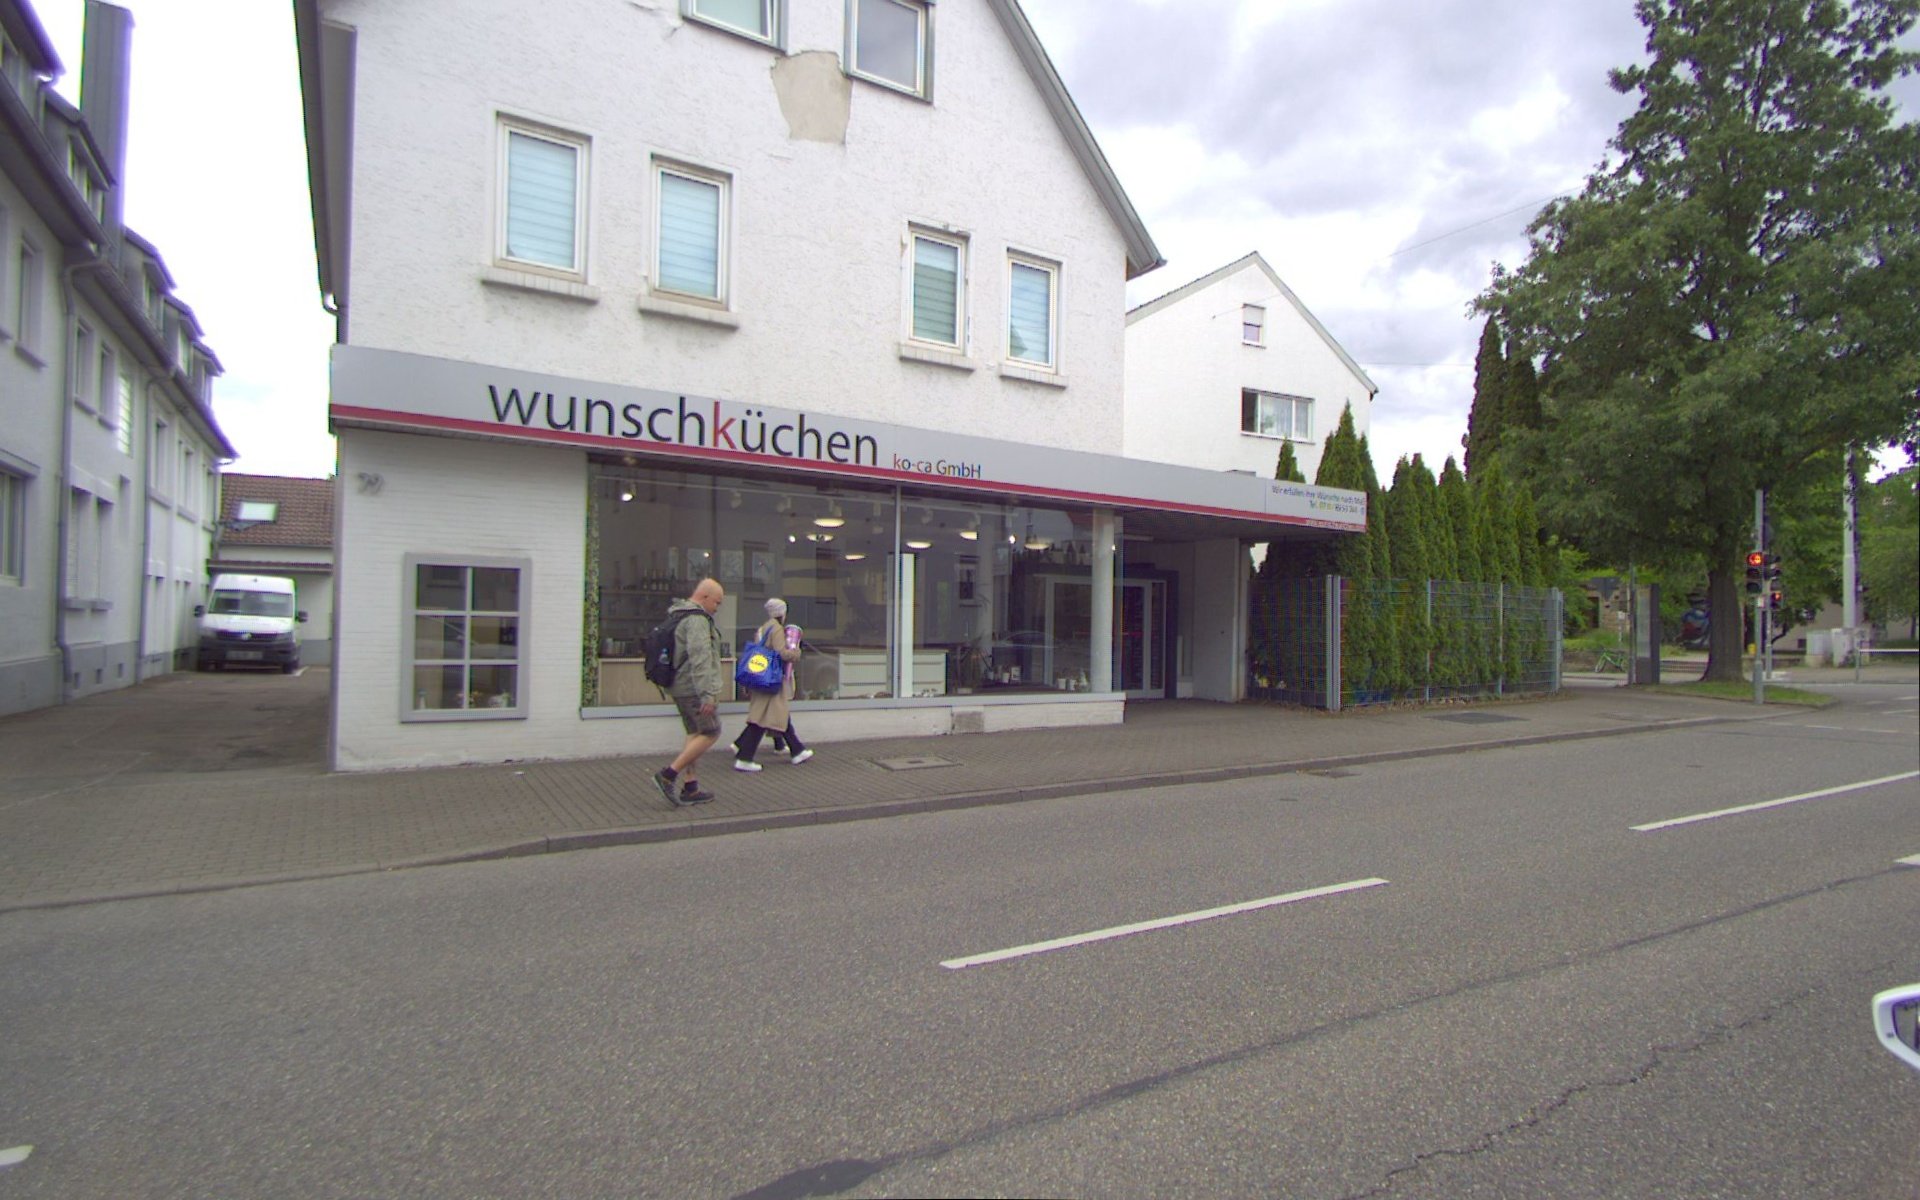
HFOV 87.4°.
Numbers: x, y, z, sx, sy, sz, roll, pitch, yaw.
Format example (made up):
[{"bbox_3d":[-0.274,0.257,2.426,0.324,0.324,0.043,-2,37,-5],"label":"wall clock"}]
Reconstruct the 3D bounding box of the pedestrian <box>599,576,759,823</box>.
[{"bbox_3d":[-2.192,0.722,7.808,1.008,1.767,0.747,1,1,-31],"label":"pedestrian"}]

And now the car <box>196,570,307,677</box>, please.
[{"bbox_3d":[-19.064,0.592,27.256,1.938,2.541,5.943,4,-2,-32],"label":"car"}]

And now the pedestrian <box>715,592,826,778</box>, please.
[{"bbox_3d":[-1.802,0.772,9.501,0.784,1.638,0.747,1,2,-31],"label":"pedestrian"}]
